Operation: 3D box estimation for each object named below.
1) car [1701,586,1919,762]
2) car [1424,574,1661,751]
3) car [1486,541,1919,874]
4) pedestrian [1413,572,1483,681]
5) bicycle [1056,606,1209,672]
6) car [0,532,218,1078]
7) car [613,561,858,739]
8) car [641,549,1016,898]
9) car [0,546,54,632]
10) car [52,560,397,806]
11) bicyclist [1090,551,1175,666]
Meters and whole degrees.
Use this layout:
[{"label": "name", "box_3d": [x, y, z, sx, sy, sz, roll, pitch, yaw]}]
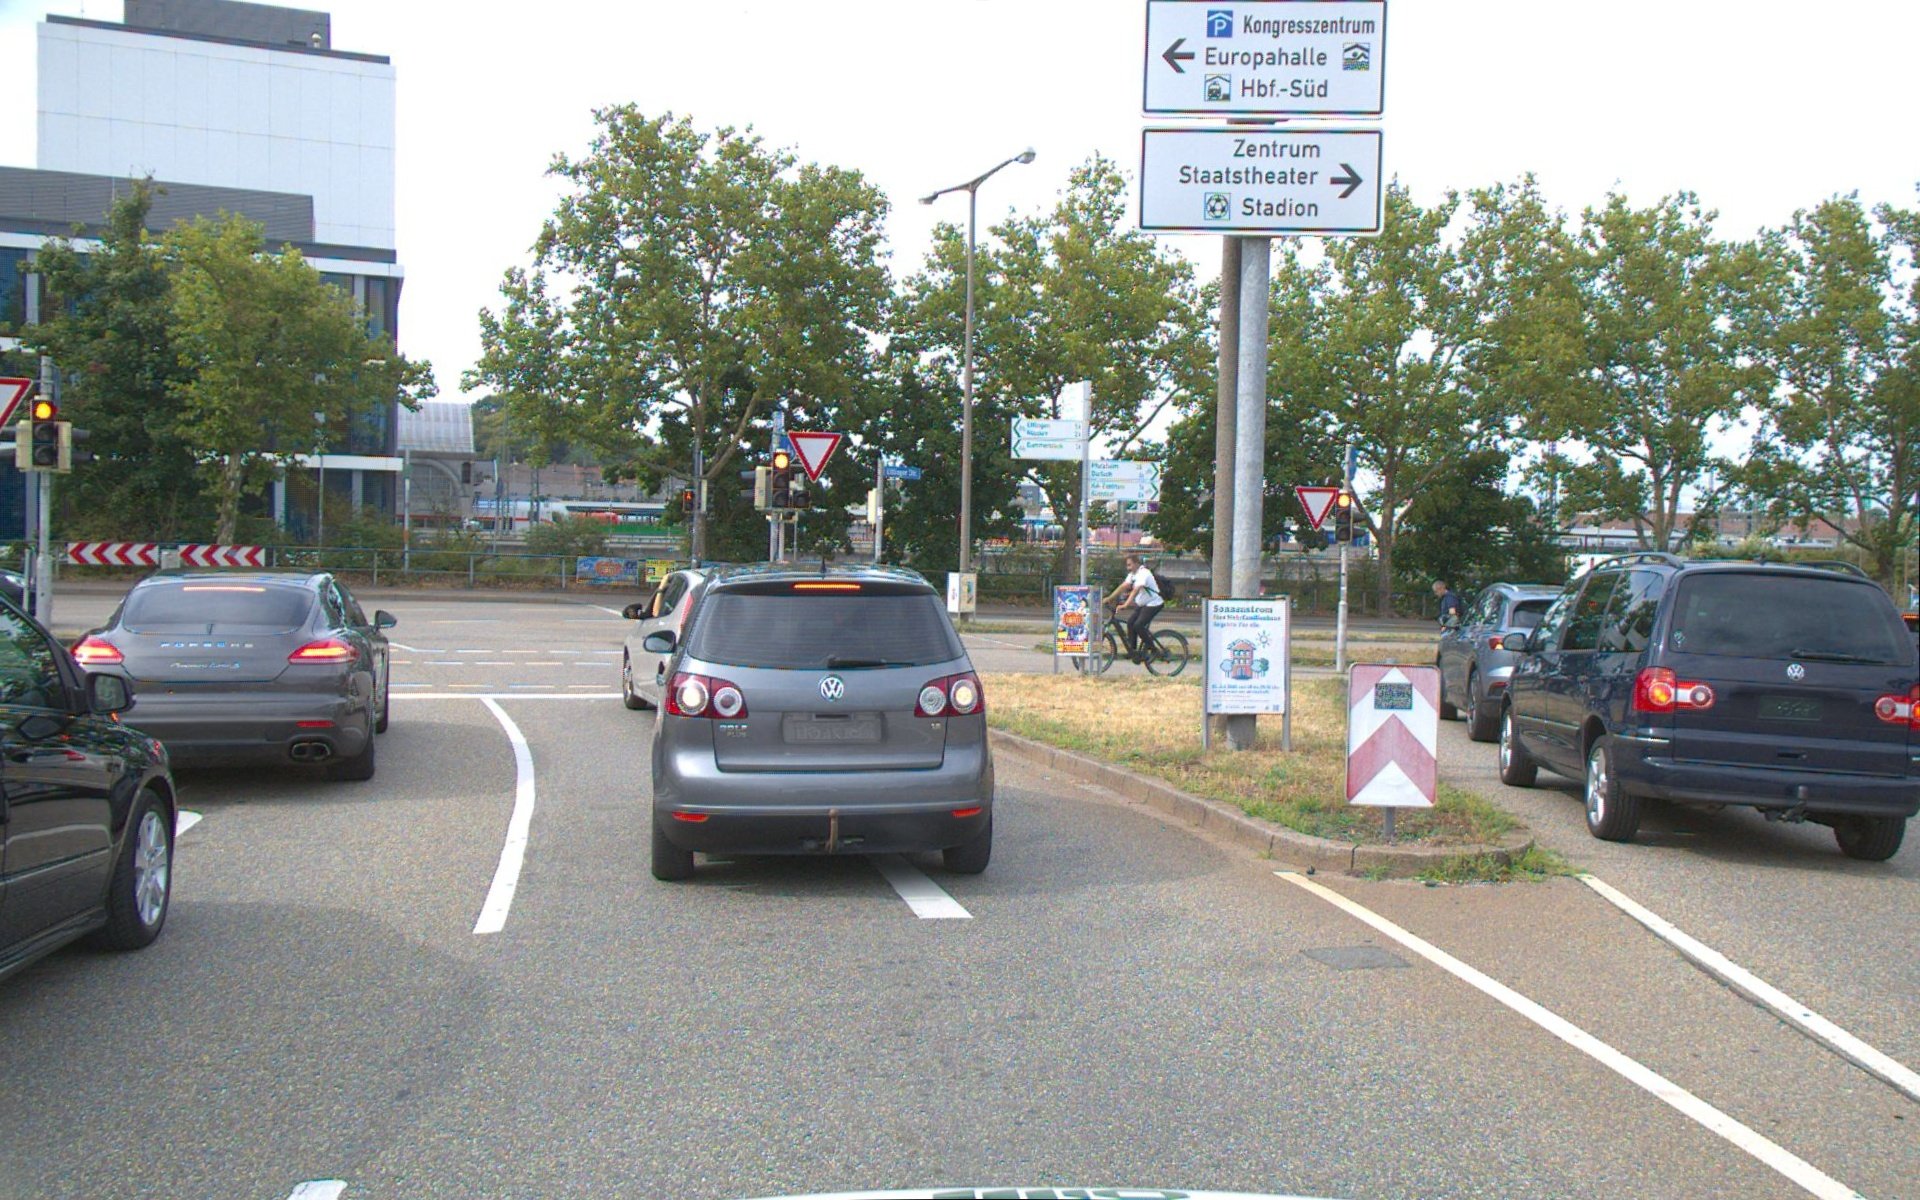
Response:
[{"label": "car", "box_3d": [9.688, 0.741, 18.172, 1.713, 1.671, 4.141, 3, 1, 9]}, {"label": "car", "box_3d": [6.199, 0.598, 18.041, 1.655, 1.612, 4.160, 3, 1, 9]}, {"label": "car", "box_3d": [4.894, 0.585, 11.217, 1.713, 1.754, 4.141, 3, 1, 7]}, {"label": "pedestrian", "box_3d": [8.045, 0.422, 27.304, 1.025, 1.740, 0.854, 2, 1, 15]}, {"label": "bicycle", "box_3d": [2.634, 0.594, 25.334, 2.187, 0.969, 0.810, 1, 1, -10]}, {"label": "car", "box_3d": [-3.726, 0.590, 5.009, 1.725, 1.602, 4.028, 1, 2, -10]}, {"label": "car", "box_3d": [-2.333, 0.397, 16.281, 1.714, 1.508, 4.062, 1, 1, -18]}, {"label": "car", "box_3d": [-0.936, 0.535, 9.619, 1.709, 1.573, 4.072, 1, 1, -10]}, {"label": "car", "box_3d": [-17.035, -0.209, 26.804, 4.007, 1.391, 1.689, 1, 1, -26]}, {"label": "car", "box_3d": [-5.249, 0.459, 12.406, 1.790, 1.438, 4.754, 1, 1, -17]}, {"label": "bicyclist", "box_3d": [2.638, 0.120, 25.329, 1.092, 1.726, 0.811, 1, 1, -10]}]
